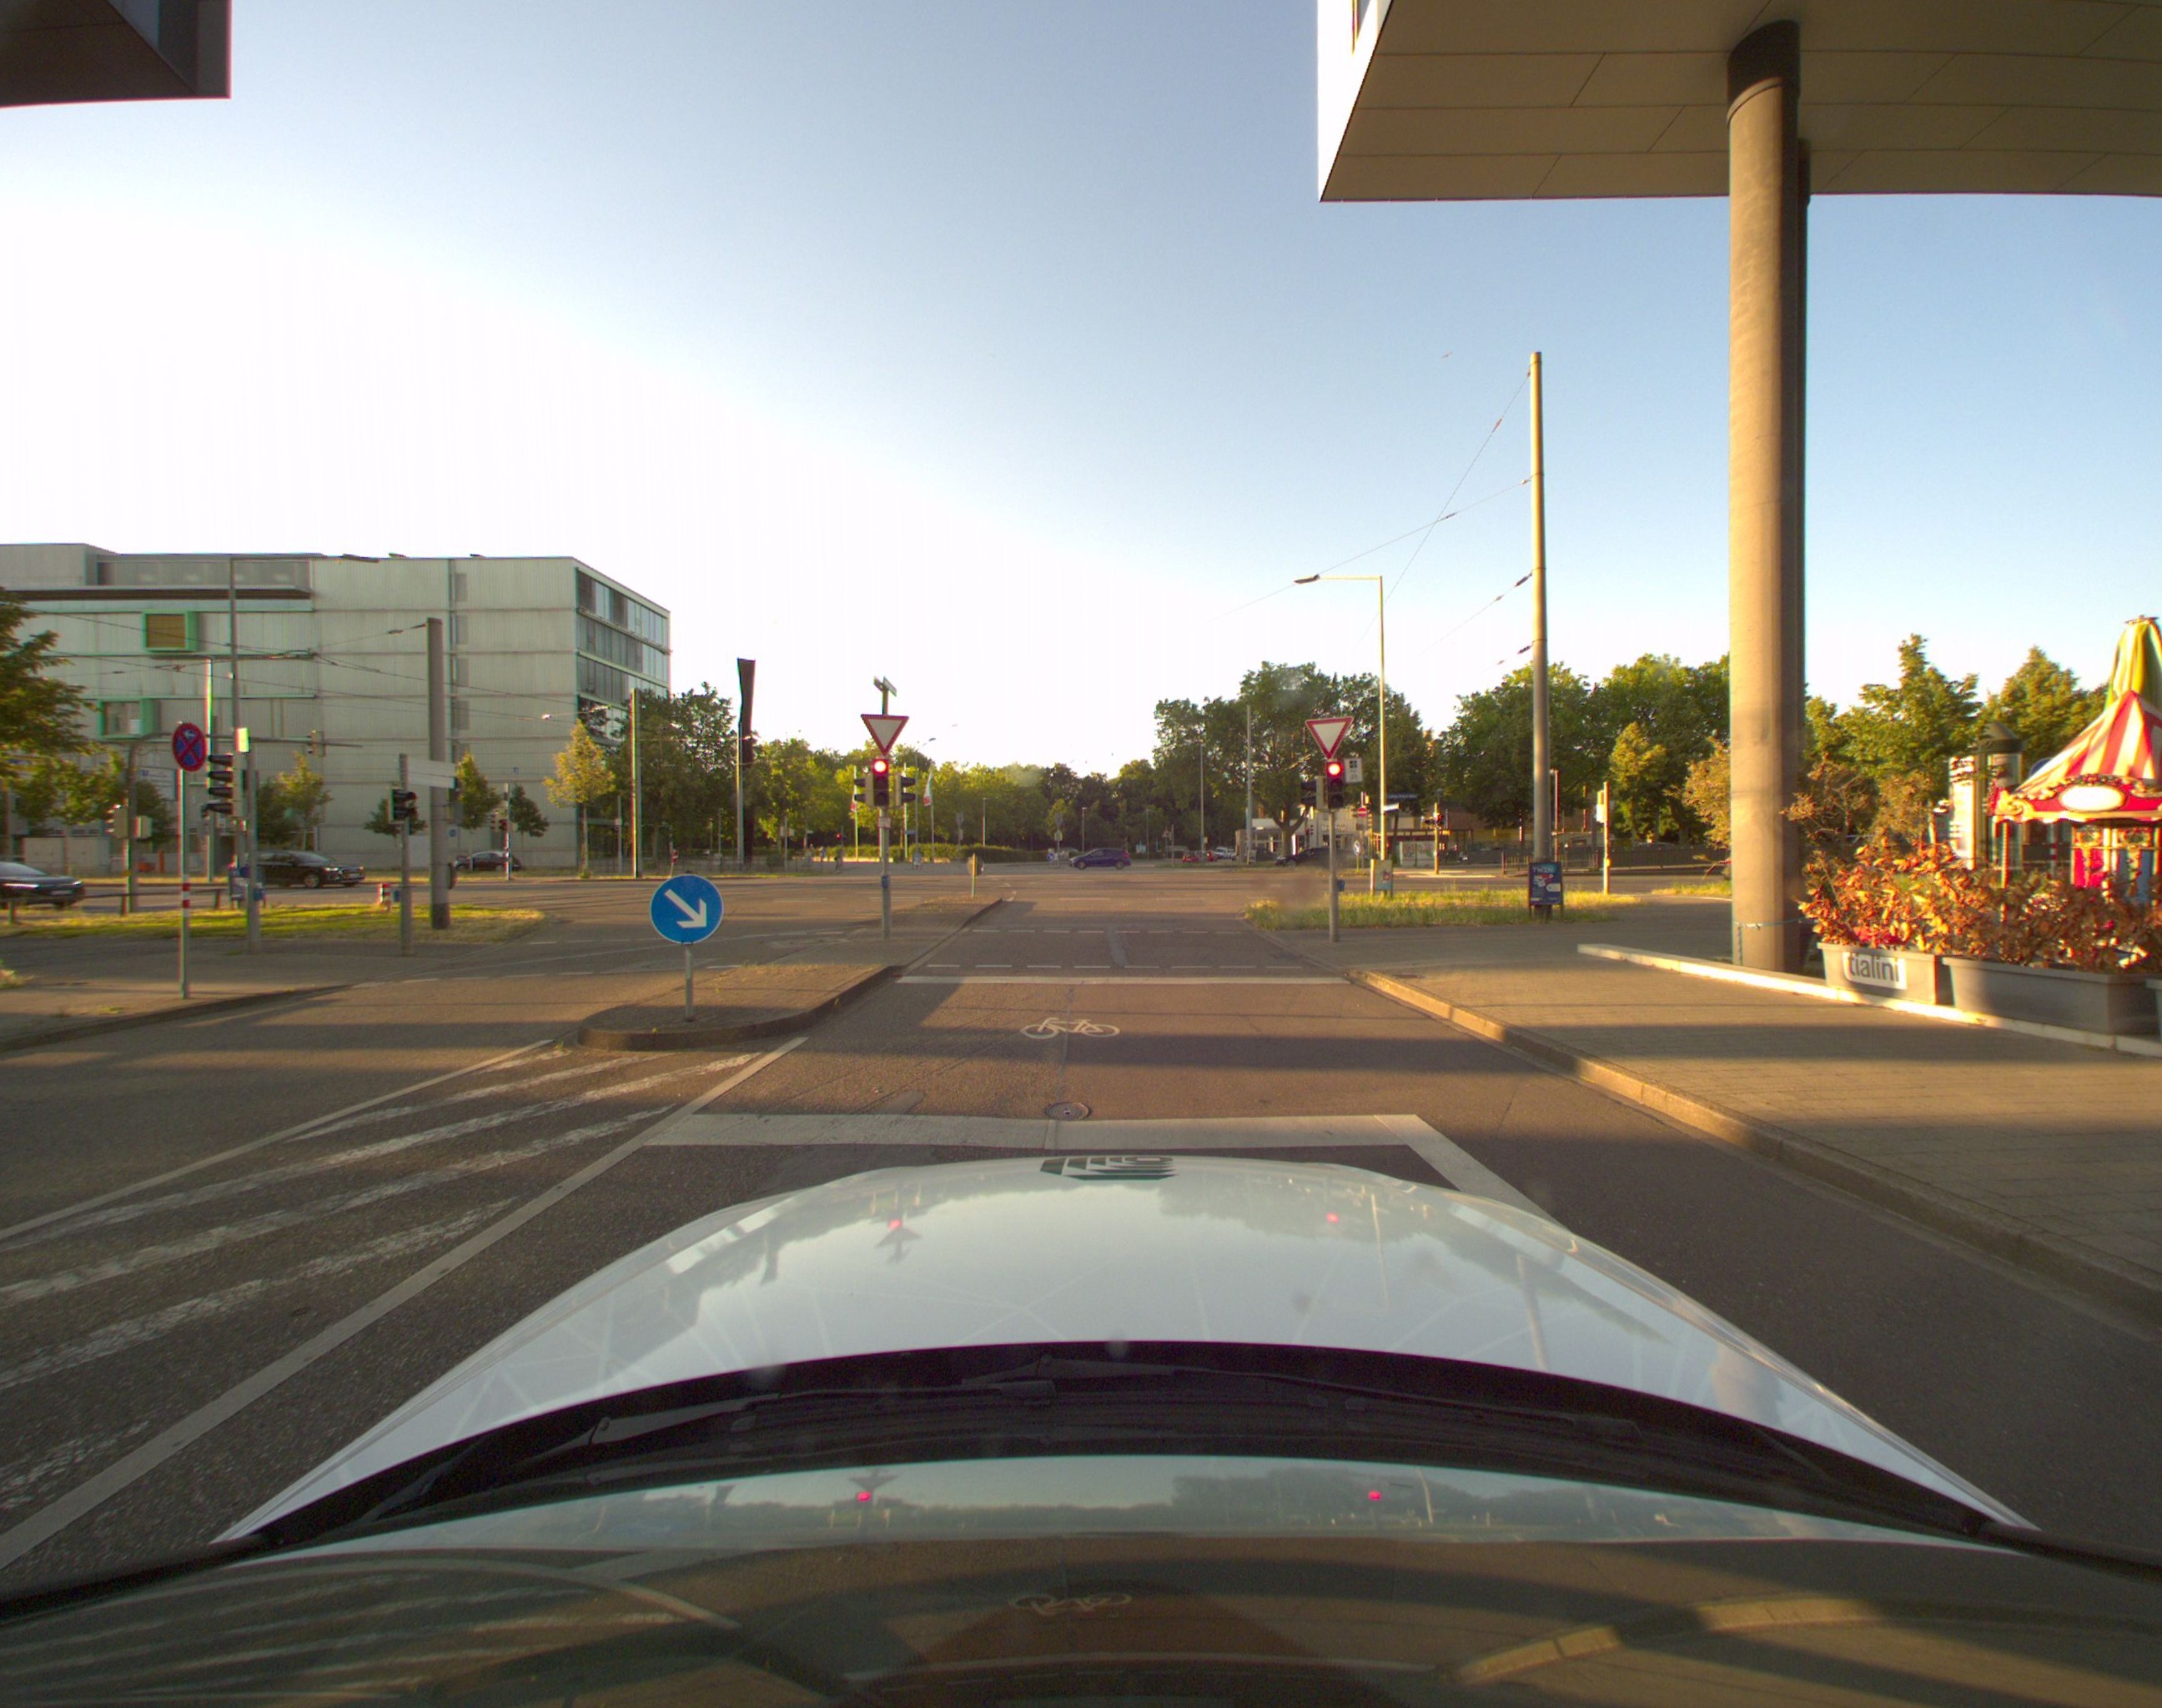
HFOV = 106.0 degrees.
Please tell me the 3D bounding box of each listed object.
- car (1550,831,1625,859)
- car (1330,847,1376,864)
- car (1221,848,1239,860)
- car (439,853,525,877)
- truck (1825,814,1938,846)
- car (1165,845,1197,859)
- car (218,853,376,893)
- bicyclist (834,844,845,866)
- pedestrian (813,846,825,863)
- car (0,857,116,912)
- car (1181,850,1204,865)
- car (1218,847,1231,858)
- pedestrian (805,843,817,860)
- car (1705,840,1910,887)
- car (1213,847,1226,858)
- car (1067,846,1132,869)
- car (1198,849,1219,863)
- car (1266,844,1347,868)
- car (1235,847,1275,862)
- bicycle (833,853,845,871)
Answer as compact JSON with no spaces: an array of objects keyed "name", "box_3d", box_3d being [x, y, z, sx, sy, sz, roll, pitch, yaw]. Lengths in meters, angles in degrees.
[{"name":"car","box_3d":[47.881,-0.821,77.069,5.561,2.551,2.235,-1,0,9]},{"name":"car","box_3d":[23.931,0.137,71.762,3.715,1.440,1.669,-1,-1,11]},{"name":"car","box_3d":[21.088,0.016,115.301,1.978,1.662,4.018,-1,-1,17]},{"name":"car","box_3d":[-39.362,0.708,53.580,4.317,1.496,1.804,-1,-1,0]},{"name":"truck","box_3d":[54.309,-1.619,55.348,5.535,2.054,2.069,-1,0,2]},{"name":"car","box_3d":[15.416,-0.312,125.731,4.753,2.006,2.002,-1,-1,3]},{"name":"car","box_3d":[-32.507,0.749,33.897,4.467,1.557,1.986,-1,0,-4]},{"name":"bicyclist","box_3d":[-19.070,0.078,64.218,0.753,1.709,0.914,-1,0,-20]},{"name":"pedestrian","box_3d":[-27.188,0.095,84.523,0.852,1.744,0.835,-1,0,30]},{"name":"car","box_3d":[-33.756,0.950,25.359,4.893,1.614,1.999,-1,0,-1]},{"name":"car","box_3d":[13.105,0.392,95.561,1.978,1.662,4.018,-1,-1,17]},{"name":"car","box_3d":[23.934,-0.237,135.739,1.849,1.794,4.015,-1,-1,14]},{"name":"pedestrian","box_3d":[-27.690,-0.241,83.429,0.852,1.744,0.835,-1,0,37]},{"name":"car","box_3d":[24.561,0.307,27.724,4.981,1.511,1.992,-1,0,7]},{"name":"car","box_3d":[22.270,-0.230,130.881,1.850,1.794,4.013,-1,-1,12]},{"name":"car","box_3d":[1.346,0.240,56.922,4.454,1.552,2.001,-1,-1,3]},{"name":"car","box_3d":[16.208,0.231,103.181,1.978,1.662,4.018,-1,-1,17]},{"name":"car","box_3d":[15.686,0.143,56.798,5.082,1.552,2.000,-1,-1,1]},{"name":"car","box_3d":[18.924,0.026,88.902,4.194,1.552,2.005,-1,-1,9]},{"name":"bicycle","box_3d":[-19.033,0.602,64.100,0.732,1.341,2.673,-1,0,-19]}]
